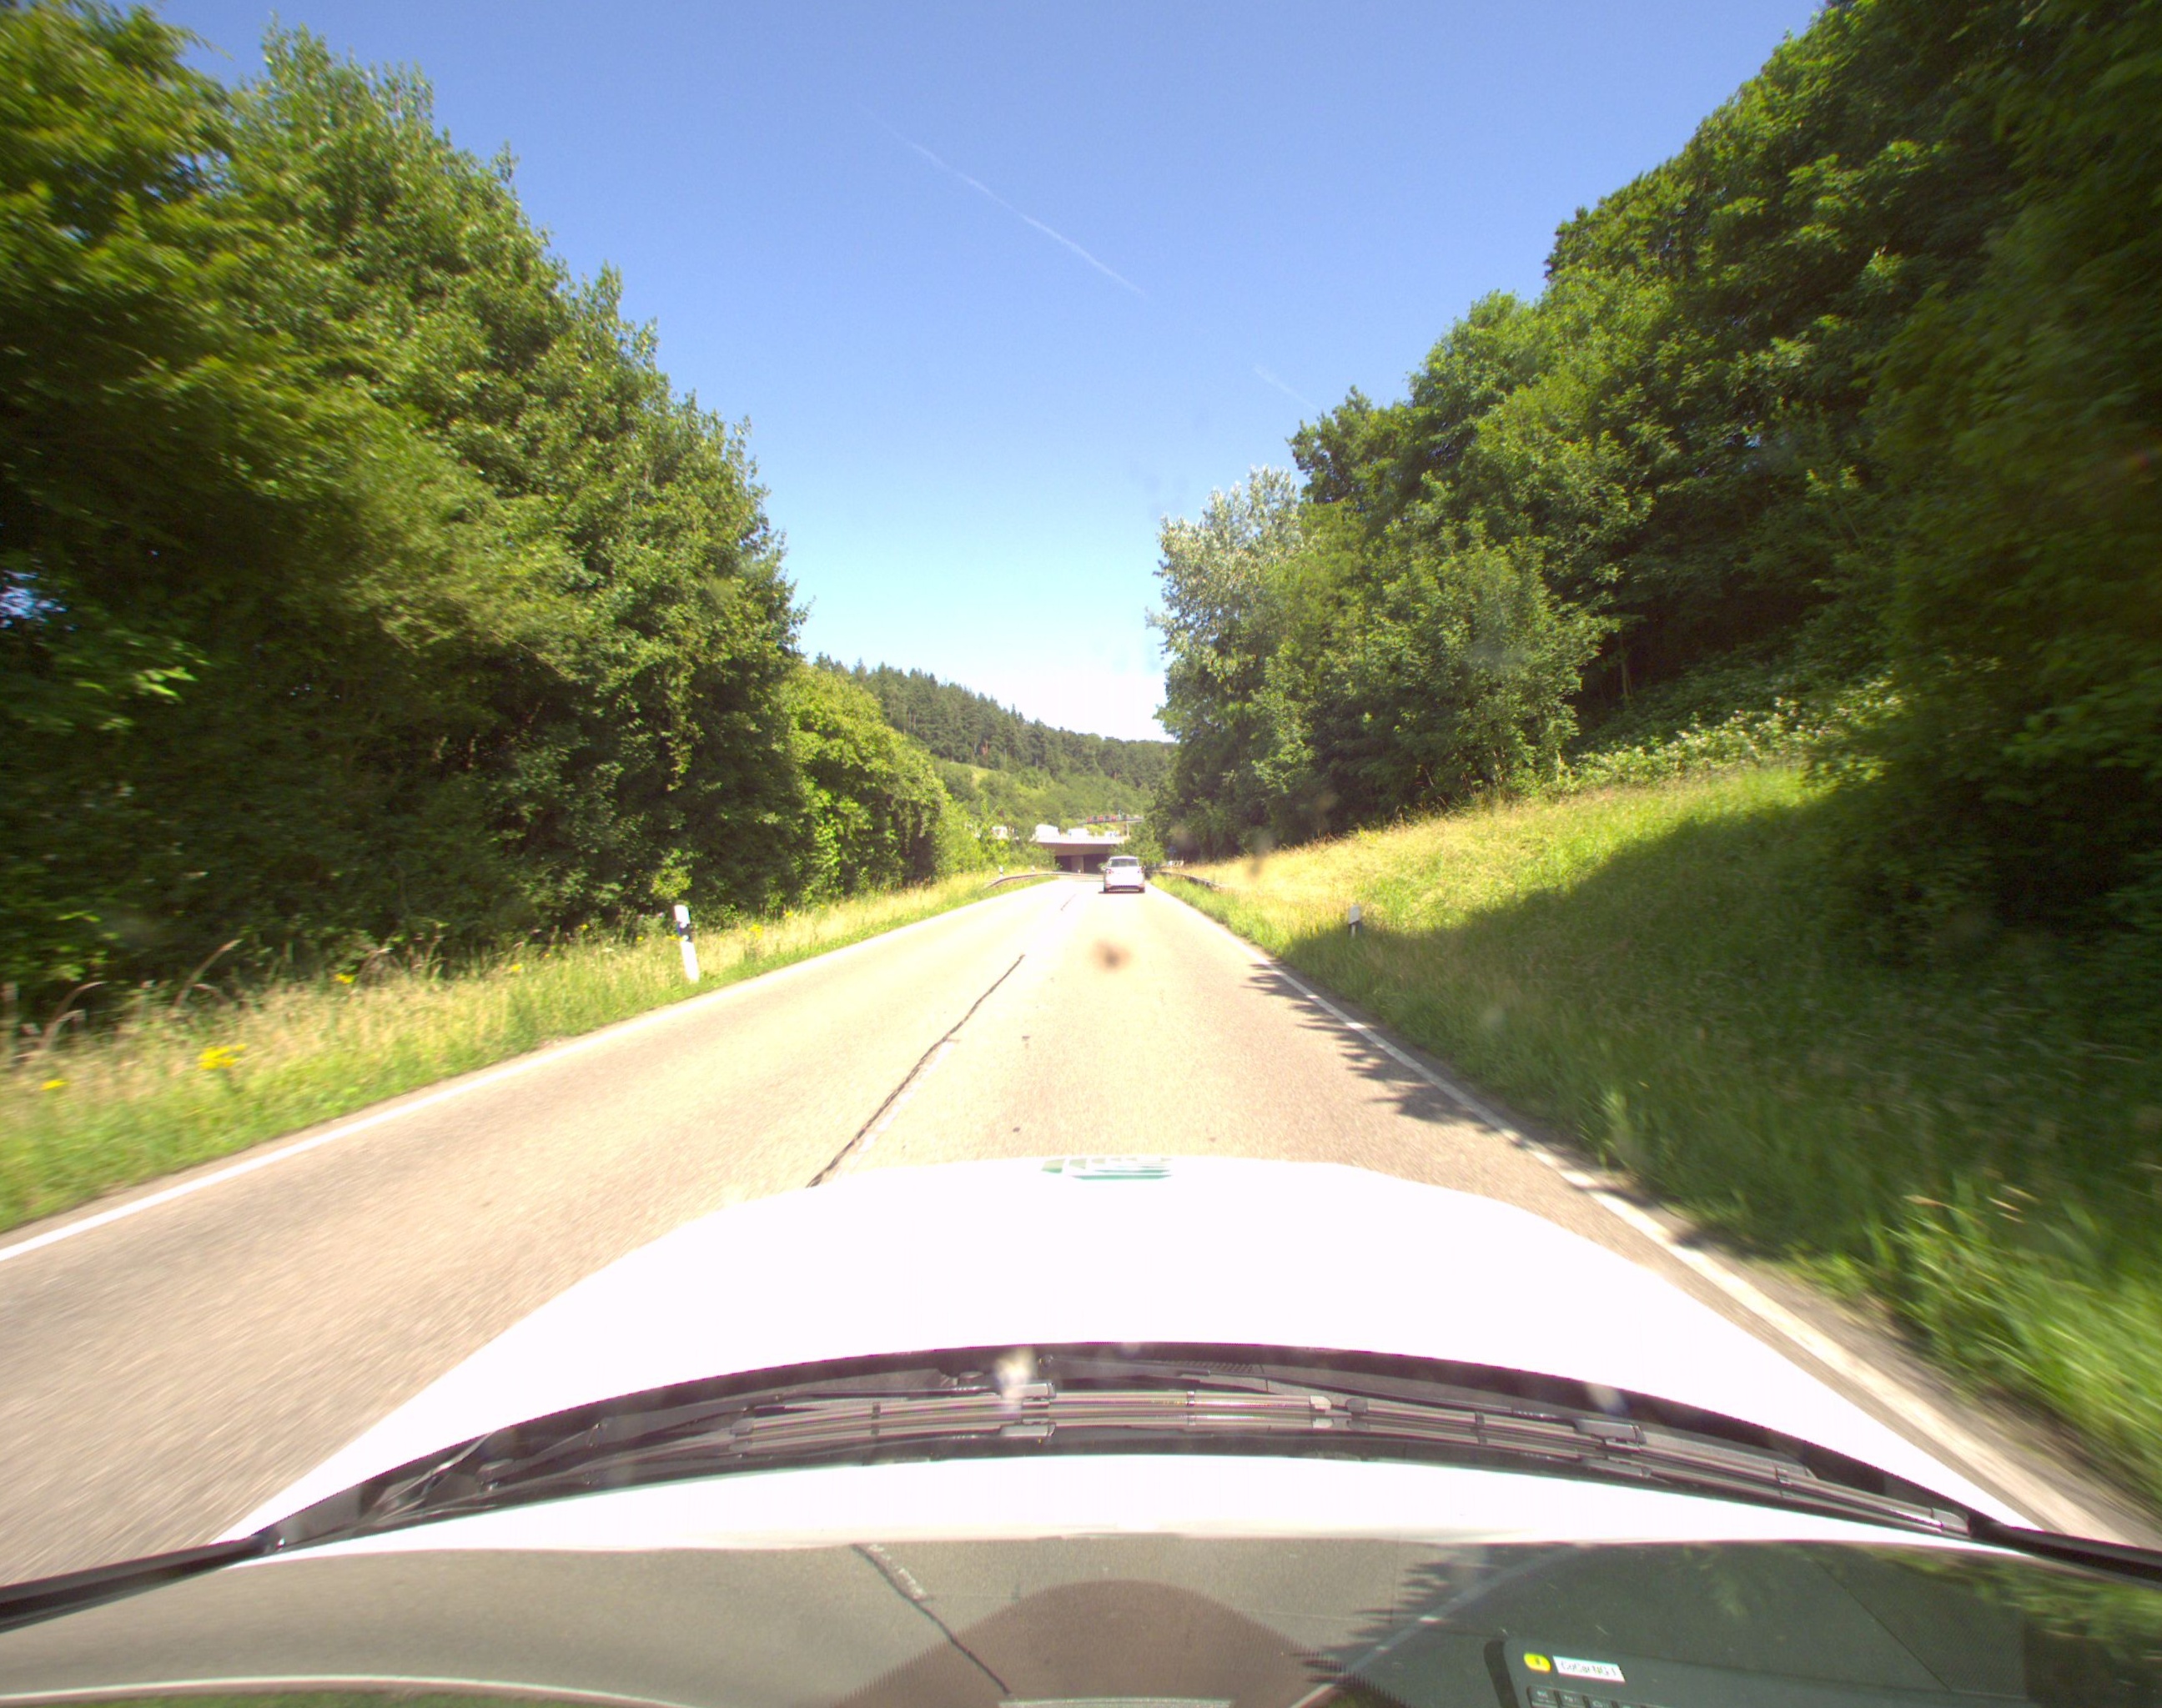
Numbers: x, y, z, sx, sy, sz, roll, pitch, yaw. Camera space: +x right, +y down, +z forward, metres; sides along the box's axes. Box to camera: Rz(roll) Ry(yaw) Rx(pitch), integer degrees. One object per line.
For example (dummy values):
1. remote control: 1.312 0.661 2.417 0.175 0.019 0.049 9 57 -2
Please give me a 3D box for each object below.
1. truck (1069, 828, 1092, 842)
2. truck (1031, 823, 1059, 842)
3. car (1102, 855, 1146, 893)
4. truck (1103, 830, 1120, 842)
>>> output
1. truck: -0.114 -4.869 210.153 3.735 3.385 10.540 -1 0 11
2. truck: -7.380 -4.366 167.960 3.348 3.355 10.208 -1 -1 12
3. car: 1.842 0.853 35.041 1.744 1.520 4.162 -1 -1 3
4. truck: 9.497 -5.613 254.302 3.517 3.423 9.933 -1 0 13
